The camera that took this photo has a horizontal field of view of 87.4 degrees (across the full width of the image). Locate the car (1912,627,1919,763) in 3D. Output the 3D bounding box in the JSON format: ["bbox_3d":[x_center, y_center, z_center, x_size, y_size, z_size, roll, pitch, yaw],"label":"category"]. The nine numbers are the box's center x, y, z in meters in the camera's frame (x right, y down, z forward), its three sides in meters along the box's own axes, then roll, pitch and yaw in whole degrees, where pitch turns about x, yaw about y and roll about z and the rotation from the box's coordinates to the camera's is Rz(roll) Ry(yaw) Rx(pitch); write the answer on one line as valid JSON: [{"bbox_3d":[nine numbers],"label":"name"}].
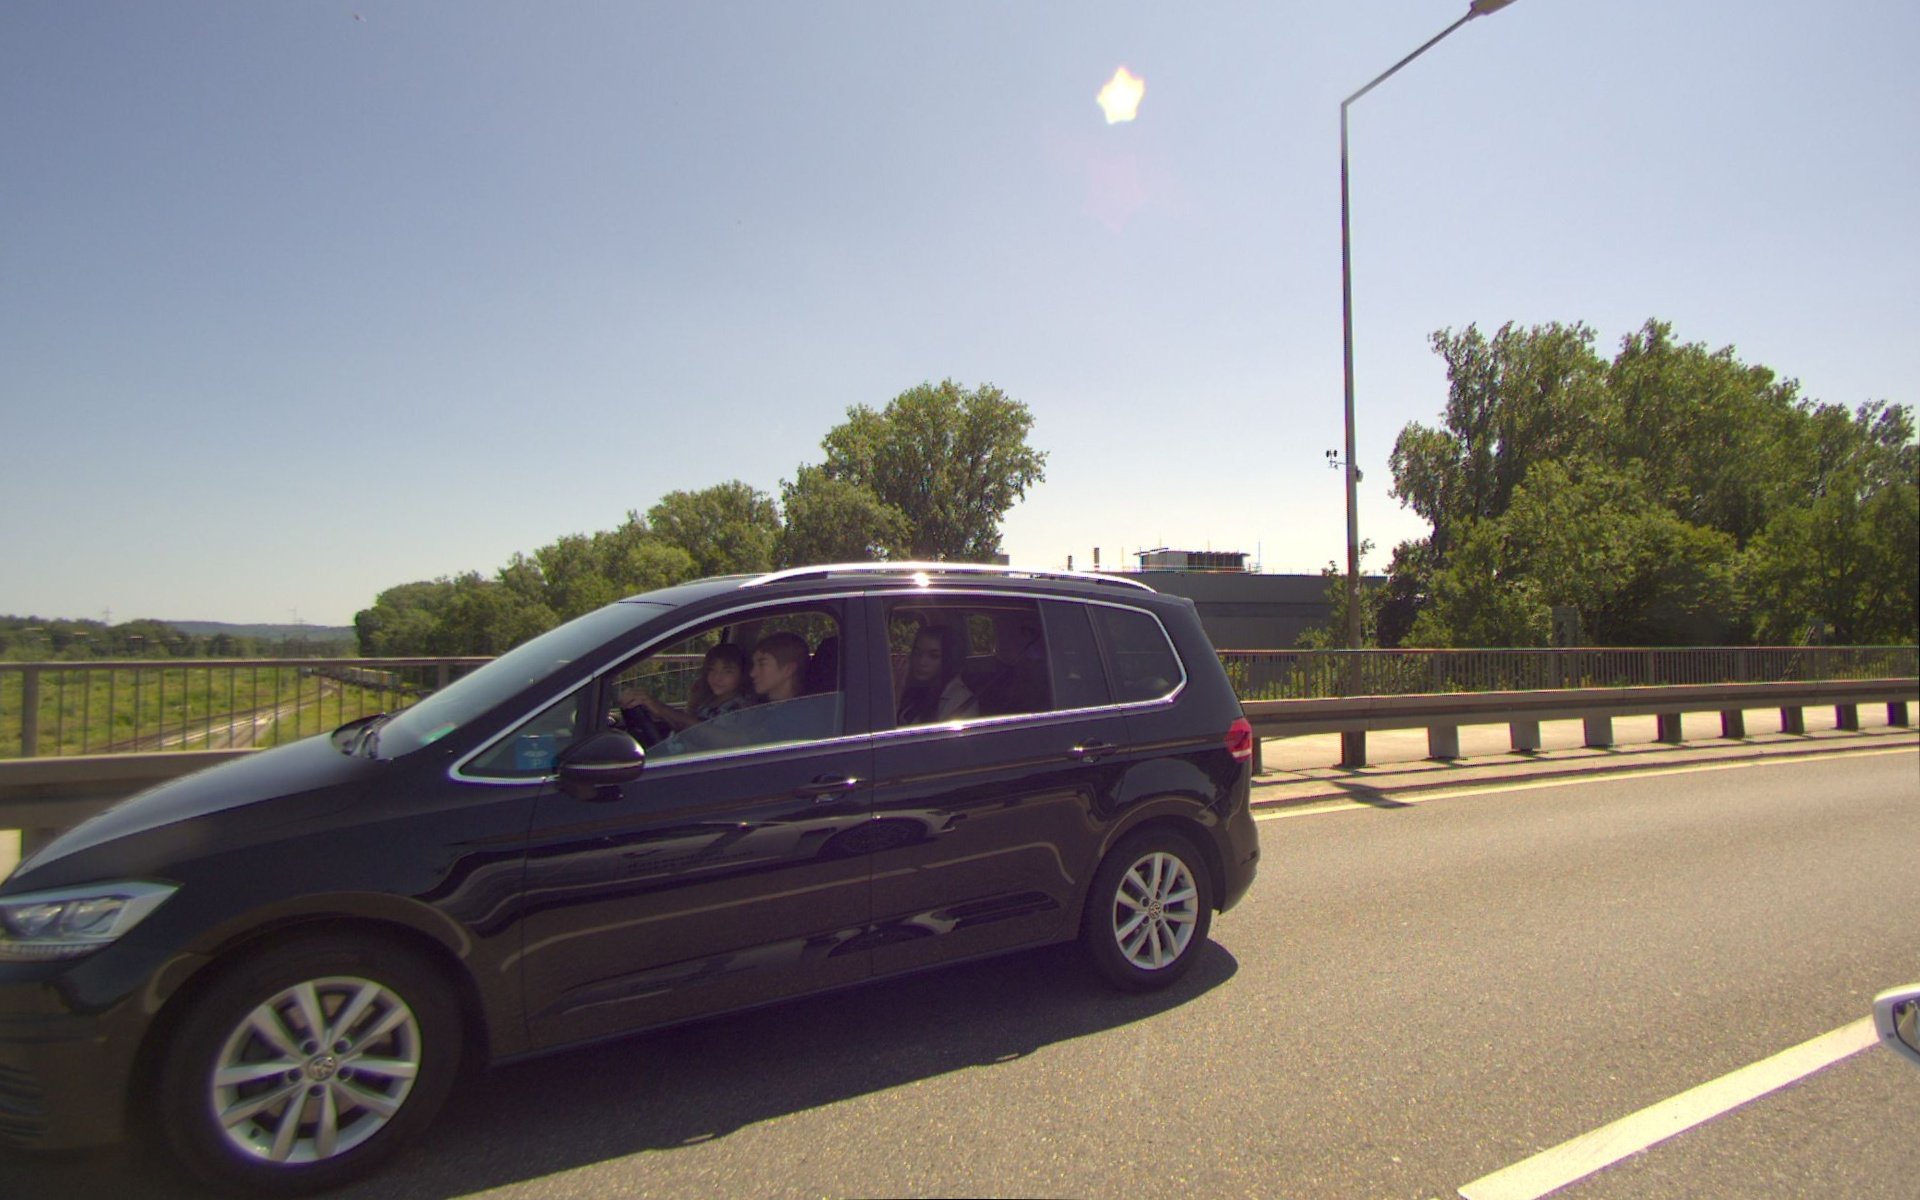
[{"bbox_3d":[12.610,1.053,10.837,4.327,1.458,1.769,1,-1,-22],"label":"car"}]

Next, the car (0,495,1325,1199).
[{"bbox_3d":[-0.705,0.653,3.952,4.204,1.647,1.764,1,-1,-30],"label":"car"}]
